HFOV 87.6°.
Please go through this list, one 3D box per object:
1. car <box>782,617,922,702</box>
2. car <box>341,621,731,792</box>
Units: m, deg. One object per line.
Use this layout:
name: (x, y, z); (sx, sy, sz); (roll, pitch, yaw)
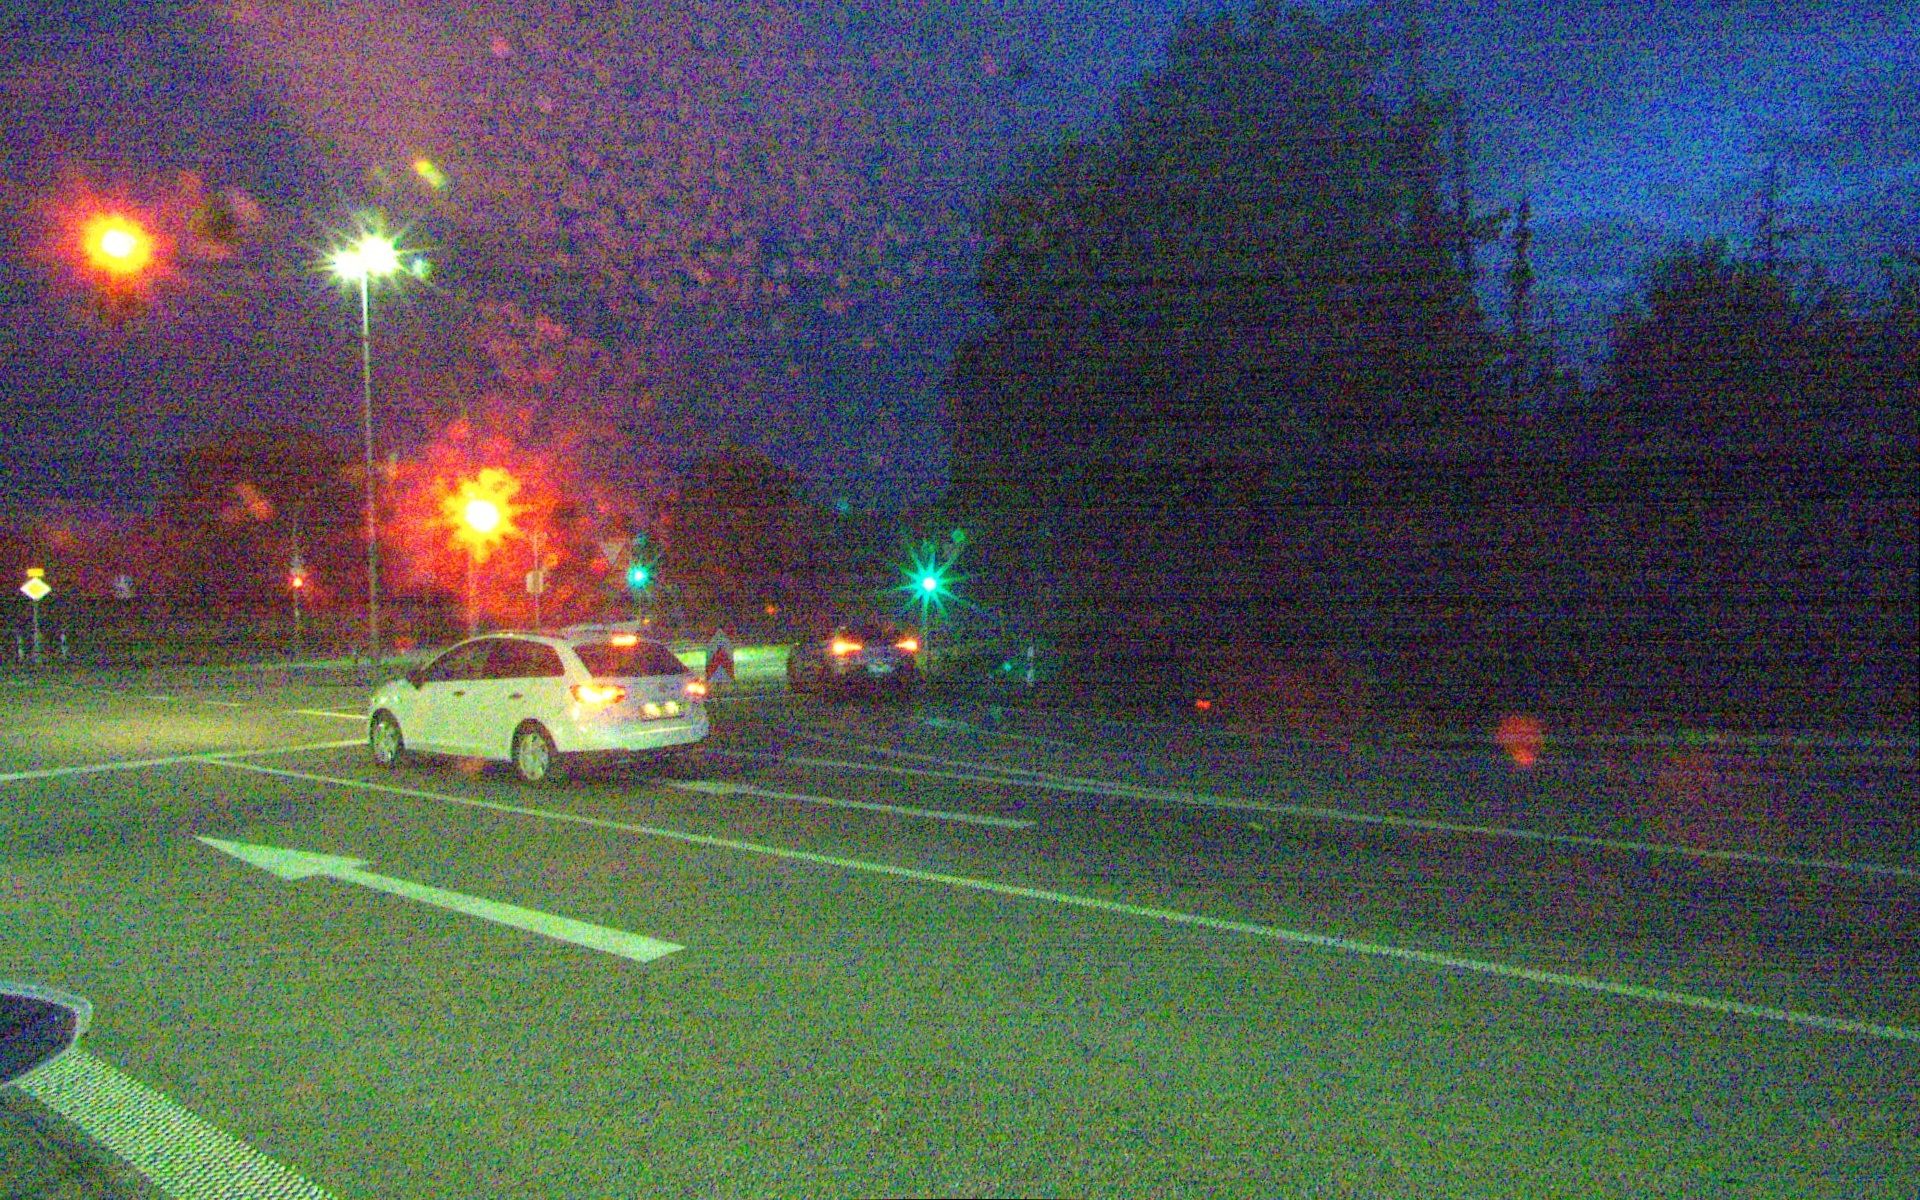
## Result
car: (-2.359, 1.163, 20.880); (1.713, 1.593, 4.045); (1, -1, -25)
car: (-4.447, 0.958, 10.370); (4.056, 1.462, 1.617); (-1, -1, 30)
